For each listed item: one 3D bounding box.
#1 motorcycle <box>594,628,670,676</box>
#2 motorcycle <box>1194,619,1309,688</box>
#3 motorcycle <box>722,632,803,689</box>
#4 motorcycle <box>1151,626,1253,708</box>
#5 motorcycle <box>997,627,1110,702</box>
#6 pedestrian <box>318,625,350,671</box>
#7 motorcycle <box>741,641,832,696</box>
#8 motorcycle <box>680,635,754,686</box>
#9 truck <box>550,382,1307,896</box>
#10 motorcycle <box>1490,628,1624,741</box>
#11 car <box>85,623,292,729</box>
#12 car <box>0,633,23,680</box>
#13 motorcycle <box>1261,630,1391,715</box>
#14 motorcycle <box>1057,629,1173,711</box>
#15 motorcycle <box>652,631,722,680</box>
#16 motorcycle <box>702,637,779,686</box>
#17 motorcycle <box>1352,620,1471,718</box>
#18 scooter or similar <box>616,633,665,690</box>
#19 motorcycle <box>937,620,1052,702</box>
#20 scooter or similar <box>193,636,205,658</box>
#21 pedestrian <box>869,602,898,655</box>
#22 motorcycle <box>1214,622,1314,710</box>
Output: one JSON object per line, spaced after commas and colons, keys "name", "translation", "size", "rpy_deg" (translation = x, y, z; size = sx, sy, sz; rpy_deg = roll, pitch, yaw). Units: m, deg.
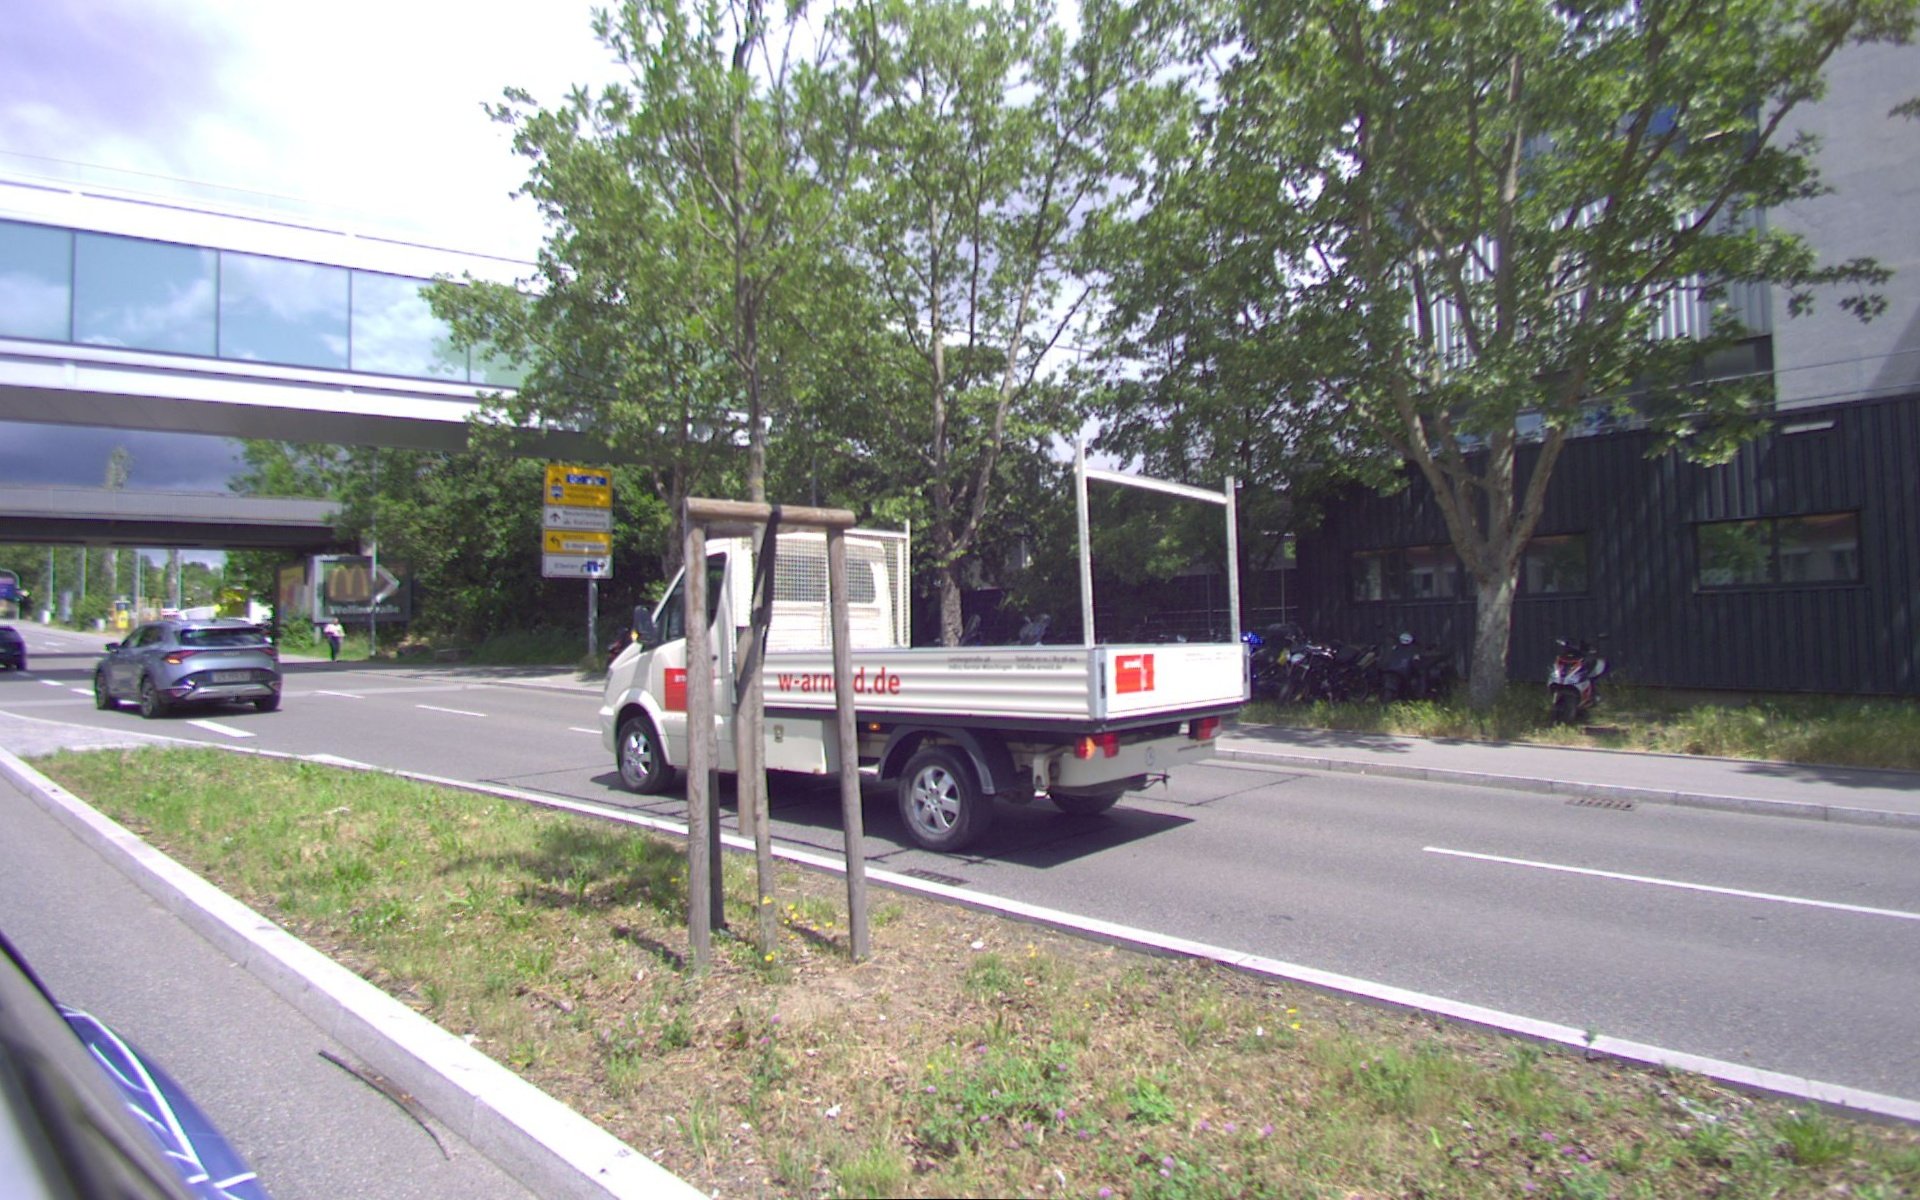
{"name": "motorcycle", "translation": [-8.785, 1.386, 27.138], "size": [1.720, 1.180, 0.777], "rpy_deg": [-2, -1, -41]}
{"name": "motorcycle", "translation": [5.459, 1.004, 19.051], "size": [0.645, 1.219, 1.984], "rpy_deg": [-2, -1, -44]}
{"name": "motorcycle", "translation": [-4.470, 1.358, 22.989], "size": [0.849, 1.188, 1.734], "rpy_deg": [-3, -1, 30]}
{"name": "motorcycle", "translation": [3.970, 1.061, 16.513], "size": [0.698, 1.188, 1.856], "rpy_deg": [-4, -1, 45]}
{"name": "motorcycle", "translation": [1.665, 1.122, 17.948], "size": [1.852, 1.188, 0.817], "rpy_deg": [-2, -1, -34]}
{"name": "pedestrian", "translation": [-22.981, 1.738, 37.154], "size": [0.813, 1.624, 0.760], "rpy_deg": [-1, 1, 40]}
{"name": "motorcycle", "translation": [-3.772, 1.491, 22.147], "size": [0.918, 1.124, 1.918], "rpy_deg": [0, -3, 30]}
{"name": "motorcycle", "translation": [-5.979, 1.476, 24.911], "size": [0.776, 1.131, 1.574], "rpy_deg": [-4, -1, 42]}
{"name": "truck", "translation": [-0.725, 0.300, 8.536], "size": [6.455, 2.772, 2.453], "rpy_deg": [-2, -2, 42]}
{"name": "motorcycle", "translation": [7.234, 0.979, 12.227], "size": [1.854, 1.182, 0.746], "rpy_deg": [-2, -1, -39]}
{"name": "car", "translation": [-13.746, 1.264, 17.958], "size": [4.286, 1.643, 1.887], "rpy_deg": [-2, -2, 38]}
{"name": "car", "translation": [-32.325, 1.839, 33.183], "size": [4.473, 1.464, 1.692], "rpy_deg": [-2, -2, 38]}
{"name": "motorcycle", "translation": [5.372, 1.031, 14.830], "size": [1.852, 1.093, 0.796], "rpy_deg": [-2, -1, -33]}
{"name": "motorcycle", "translation": [2.572, 1.118, 16.667], "size": [1.854, 1.188, 0.816], "rpy_deg": [-2, -1, -40]}
{"name": "motorcycle", "translation": [-6.934, 1.407, 25.742], "size": [0.773, 1.131, 1.579], "rpy_deg": [-3, -1, 32]}
{"name": "motorcycle", "translation": [-5.139, 1.430, 23.789], "size": [0.776, 1.041, 1.574], "rpy_deg": [-4, -1, 42]}
{"name": "motorcycle", "translation": [6.273, 0.917, 14.022], "size": [1.854, 1.195, 0.731], "rpy_deg": [-2, -1, -40]}
{"name": "scooter or similar", "translation": [-7.409, 1.416, 23.429], "size": [1.479, 1.245, 0.350], "rpy_deg": [0, 0, 41]}
{"name": "motorcycle", "translation": [0.641, 1.110, 18.831], "size": [1.905, 1.354, 0.867], "rpy_deg": [-2, -1, -28]}
{"name": "scooter or similar", "translation": [-39.616, 2.425, 52.699], "size": [0.470, 1.129, 1.387], "rpy_deg": [2, -3, -37]}
{"name": "pedestrian", "translation": [-2.515, 0.919, 33.212], "size": [0.871, 1.714, 0.986], "rpy_deg": [0, -1, -8]}
{"name": "motorcycle", "translation": [4.782, 1.002, 15.851], "size": [0.655, 1.219, 1.856], "rpy_deg": [-4, -1, 45]}
